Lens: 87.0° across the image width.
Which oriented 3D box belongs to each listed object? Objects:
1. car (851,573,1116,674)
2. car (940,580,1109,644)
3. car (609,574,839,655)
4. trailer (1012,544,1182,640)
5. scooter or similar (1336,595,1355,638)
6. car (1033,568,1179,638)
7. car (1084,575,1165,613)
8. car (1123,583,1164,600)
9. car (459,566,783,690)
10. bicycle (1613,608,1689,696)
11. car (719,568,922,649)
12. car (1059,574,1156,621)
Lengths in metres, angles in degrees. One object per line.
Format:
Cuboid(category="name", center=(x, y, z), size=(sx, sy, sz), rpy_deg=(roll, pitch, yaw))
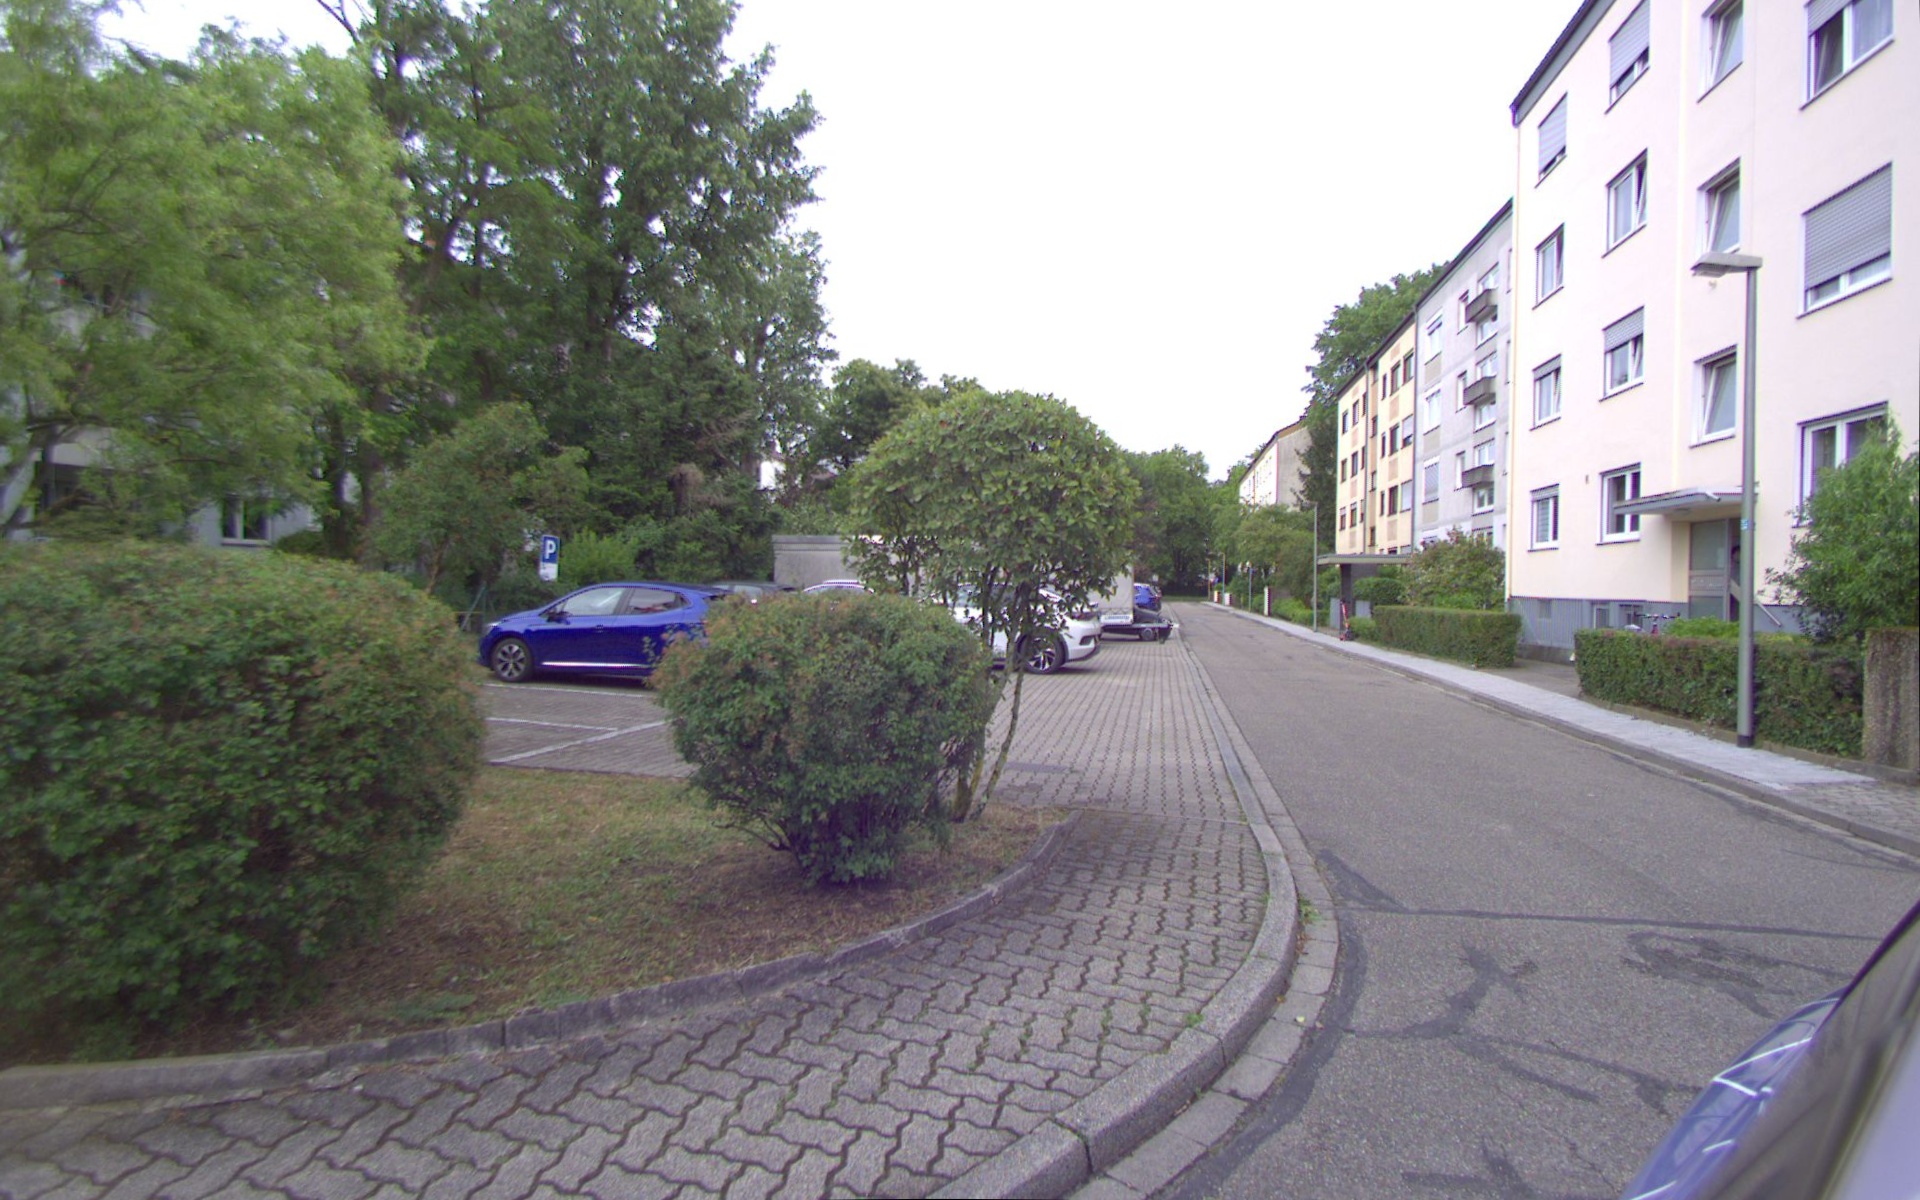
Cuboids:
Cuboid(category="car", center=(0.475, 0.362, 18.345), size=(4.485, 1.608, 1.980), rpy_deg=(1, 1, 14))
Cuboid(category="car", center=(1.662, 0.269, 25.678), size=(4.077, 1.467, 1.607), rpy_deg=(1, 1, 12))
Cuboid(category="car", center=(-4.485, 0.241, 19.500), size=(3.850, 1.398, 1.965), rpy_deg=(1, 1, 12))
Cuboid(category="trailer", center=(3.869, -0.221, 28.426), size=(4.553, 2.557, 1.936), rpy_deg=(-1, 1, 13))
Cuboid(category="scooter or similar", center=(11.095, 0.461, 29.138), size=(0.269, 1.226, 1.161), rpy_deg=(1, 0, 10))
Cuboid(category="car", center=(4.520, 0.065, 31.251), size=(4.258, 1.824, 1.993), rpy_deg=(3, 1, 12))
Cuboid(category="car", center=(8.814, -0.328, 54.245), size=(4.144, 1.749, 1.993), rpy_deg=(3, 1, 12))
Cuboid(category="car", center=(18.894, -0.917, 104.226), size=(4.042, 1.667, 1.782), rpy_deg=(1, 1, 11))
Cuboid(category="car", center=(-4.673, 0.333, 14.231), size=(3.850, 1.529, 2.020), rpy_deg=(1, 1, 12))
Cuboid(category="bicycle", center=(9.260, 0.667, 13.603), size=(0.314, 1.089, 1.413), rpy_deg=(0, 1, 12))
Cuboid(category="car", center=(-2.900, 0.153, 21.574), size=(3.930, 1.571, 1.997), rpy_deg=(1, 1, 6))
Cuboid(category="car", center=(6.278, -0.134, 42.917), size=(3.938, 1.724, 1.993), rpy_deg=(3, 1, 11))
